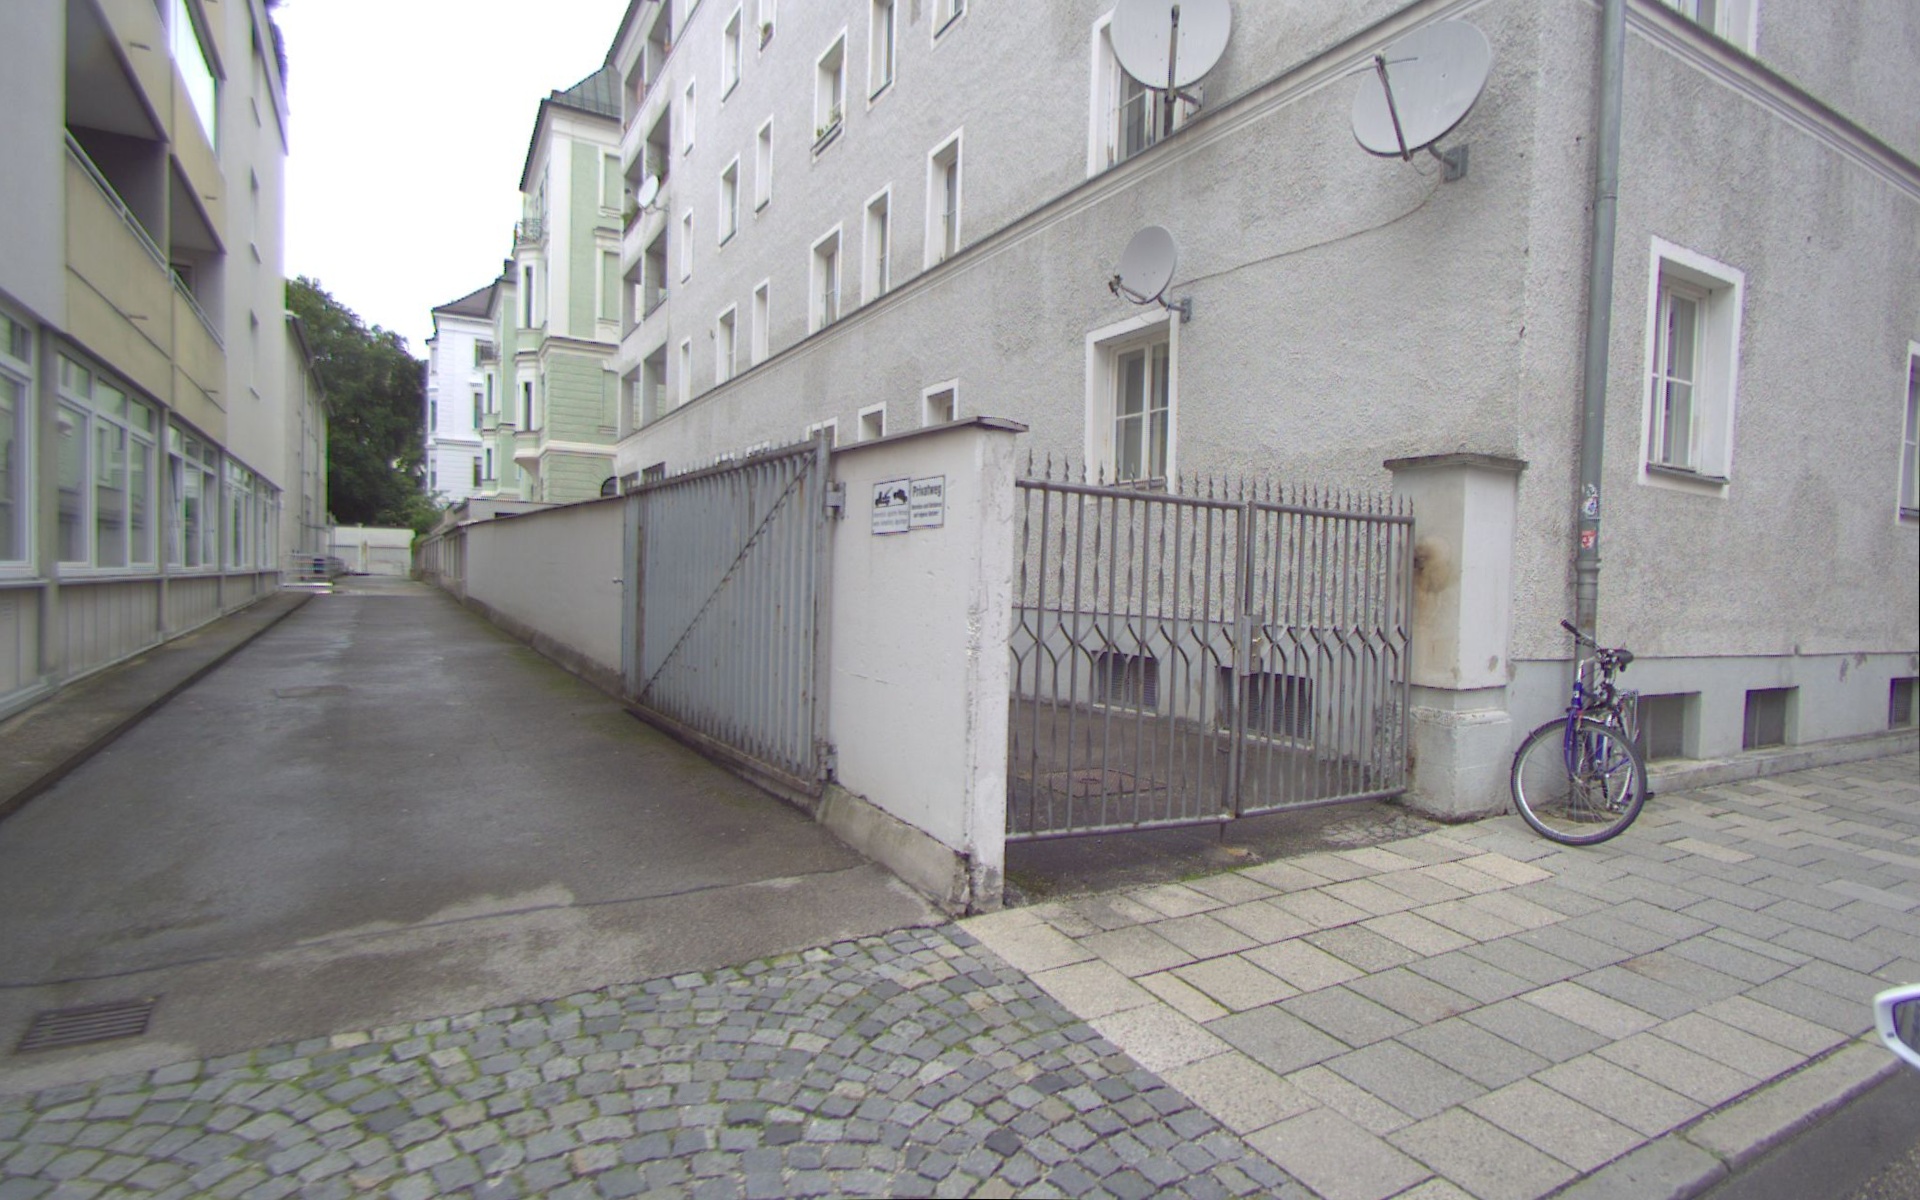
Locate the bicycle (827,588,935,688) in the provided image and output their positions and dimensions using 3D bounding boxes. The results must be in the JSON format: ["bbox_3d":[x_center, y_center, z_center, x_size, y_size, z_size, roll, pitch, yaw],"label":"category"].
[{"bbox_3d":[-1.073,0.457,13.146,0.523,1.175,2.000,1,1,-32],"label":"bicycle"}]

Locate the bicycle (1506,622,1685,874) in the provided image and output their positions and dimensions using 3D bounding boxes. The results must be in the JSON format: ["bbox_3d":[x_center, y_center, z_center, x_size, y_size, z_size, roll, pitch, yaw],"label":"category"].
[{"bbox_3d":[3.734,0.756,5.842,0.634,1.234,1.657,2,0,40],"label":"bicycle"}]

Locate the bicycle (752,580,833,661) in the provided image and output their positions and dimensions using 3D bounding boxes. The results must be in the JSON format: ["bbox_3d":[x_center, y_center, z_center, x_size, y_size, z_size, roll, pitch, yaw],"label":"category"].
[{"bbox_3d":[-2.702,0.299,16.009,0.523,1.175,2.000,1,1,-32],"label":"bicycle"}]
